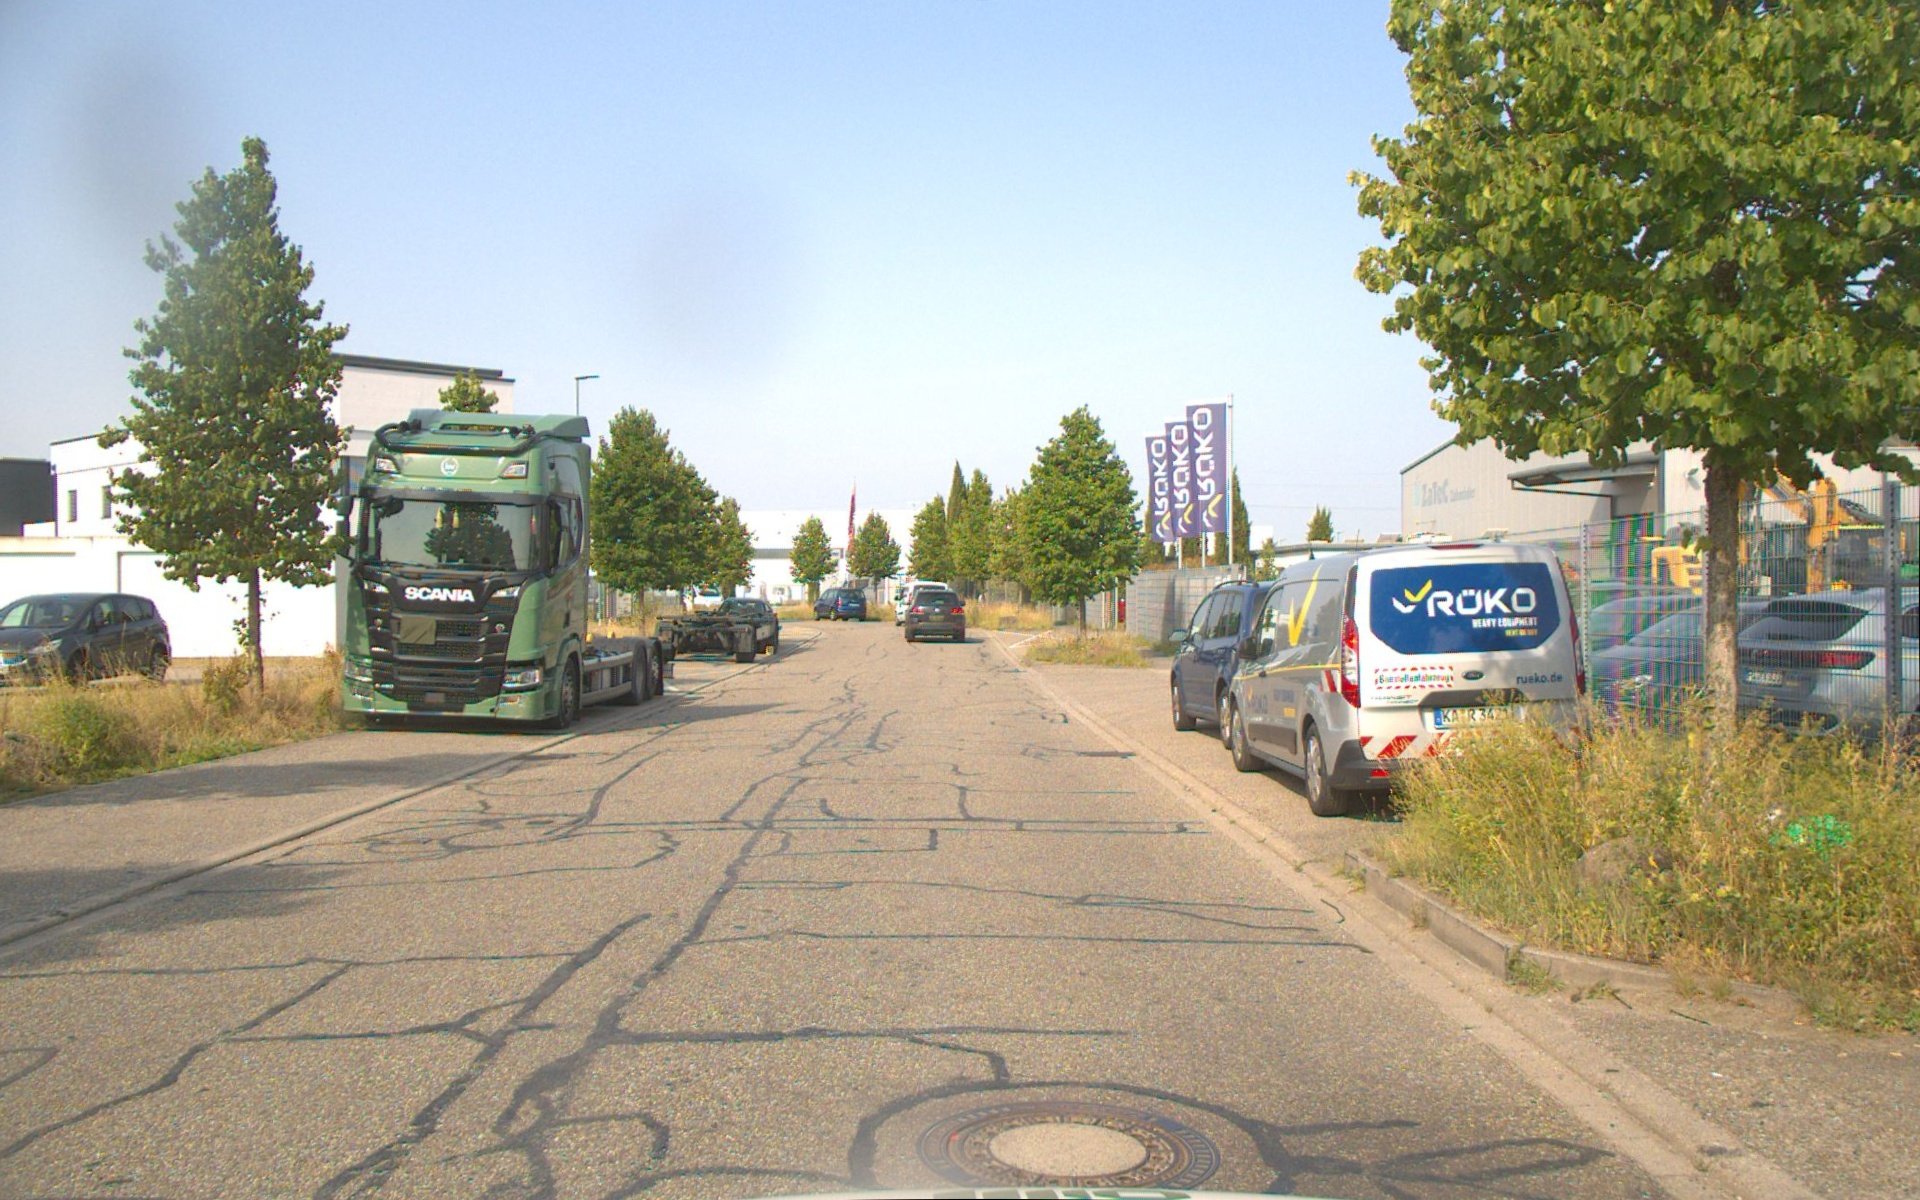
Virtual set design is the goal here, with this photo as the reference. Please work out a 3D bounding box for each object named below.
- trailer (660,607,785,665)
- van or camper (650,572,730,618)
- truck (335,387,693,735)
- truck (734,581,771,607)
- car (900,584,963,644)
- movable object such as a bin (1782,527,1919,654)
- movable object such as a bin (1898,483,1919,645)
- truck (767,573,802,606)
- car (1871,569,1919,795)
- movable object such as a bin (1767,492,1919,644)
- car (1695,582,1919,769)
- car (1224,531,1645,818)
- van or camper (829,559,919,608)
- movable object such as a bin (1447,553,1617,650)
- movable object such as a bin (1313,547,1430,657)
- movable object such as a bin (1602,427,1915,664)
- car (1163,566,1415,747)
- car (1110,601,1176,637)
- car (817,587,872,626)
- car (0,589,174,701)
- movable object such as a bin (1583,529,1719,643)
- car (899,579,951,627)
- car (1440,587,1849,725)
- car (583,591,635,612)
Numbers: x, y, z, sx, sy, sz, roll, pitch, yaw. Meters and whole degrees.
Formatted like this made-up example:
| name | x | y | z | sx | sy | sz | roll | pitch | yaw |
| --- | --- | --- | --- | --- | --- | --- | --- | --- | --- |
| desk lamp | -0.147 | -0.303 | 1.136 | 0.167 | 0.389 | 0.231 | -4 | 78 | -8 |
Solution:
| name | x | y | z | sx | sy | sz | roll | pitch | yaw |
| --- | --- | --- | --- | --- | --- | --- | --- | --- | --- |
| trailer | -6.135 | 0.890 | 43.694 | 2.086 | 1.254 | 7.159 | 1 | 1 | 1 |
| van or camper | -18.380 | -0.355 | 112.219 | 2.315 | 2.995 | 6.875 | 0 | 0 | -38 |
| truck | -5.929 | -0.410 | 23.969 | 2.405 | 3.949 | 9.802 | 1 | -1 | 0 |
| truck | -18.791 | -0.579 | 149.892 | 2.400 | 2.305 | 8.001 | 0 | 0 | 0 |
| car | -0.938 | 0.427 | 54.206 | 1.953 | 1.836 | 3.999 | 1 | 0 | -1 |
| movable object such as a bin | 22.090 | -0.246 | 38.394 | 2.646 | 2.763 | 6.346 | -1 | 1 | -3 |
| movable object such as a bin | 25.259 | -0.883 | 38.196 | 2.860 | 3.998 | 7.204 | -1 | 1 | -3 |
| truck | -15.865 | -0.958 | 149.909 | 2.400 | 2.876 | 8.001 | 0 | 0 | 0 |
| car | 8.365 | 0.591 | 10.806 | 3.910 | 1.503 | 1.788 | 1 | 0 | -6 |
| movable object such as a bin | 25.116 | -0.856 | 45.869 | 2.629 | 3.941 | 5.717 | 0 | 0 | 0 |
| car | 8.337 | 0.606 | 13.491 | 3.910 | 1.395 | 1.788 | 1 | 0 | -6 |
| car | 3.378 | 0.498 | 12.800 | 1.953 | 1.821 | 4.599 | 0 | -1 | 0 |
| van or camper | -5.274 | -0.952 | 100.349 | 2.326 | 2.898 | 7.261 | 0 | 0 | -32 |
| movable object such as a bin | 15.802 | 0.027 | 46.067 | 2.863 | 2.535 | 5.338 | 0 | 0 | 0 |
| movable object such as a bin | 11.096 | 0.043 | 45.004 | 1.848 | 2.800 | 5.159 | 0 | 0 | 0 |
| movable object such as a bin | 18.035 | -1.184 | 38.089 | 3.250 | 4.890 | 7.670 | 0 | 1 | -3 |
| car | 3.441 | 0.567 | 18.107 | 1.789 | 1.750 | 4.247 | 0 | -1 | -2 |
| car | 7.546 | 0.753 | 68.524 | 1.843 | 1.381 | 4.769 | 0 | 0 | -5 |
| car | -5.864 | 0.310 | 83.586 | 1.962 | 1.836 | 3.981 | 1 | 0 | -17 |
| car | -15.231 | 0.689 | 27.788 | 1.954 | 1.716 | 4.697 | -1 | 0 | -3 |
| movable object such as a bin | 19.647 | -0.390 | 47.241 | 1.952 | 3.084 | 4.491 | 0 | 0 | 0 |
| car | -1.488 | 0.098 | 68.667 | 1.954 | 1.932 | 4.464 | 0 | 0 | -4 |
| car | 8.095 | 0.627 | 19.794 | 4.142 | 1.521 | 1.898 | 0 | 1 | -5 |
| car | -25.361 | 0.083 | 119.638 | 2.119 | 1.502 | 4.003 | 0 | 0 | 14 |
